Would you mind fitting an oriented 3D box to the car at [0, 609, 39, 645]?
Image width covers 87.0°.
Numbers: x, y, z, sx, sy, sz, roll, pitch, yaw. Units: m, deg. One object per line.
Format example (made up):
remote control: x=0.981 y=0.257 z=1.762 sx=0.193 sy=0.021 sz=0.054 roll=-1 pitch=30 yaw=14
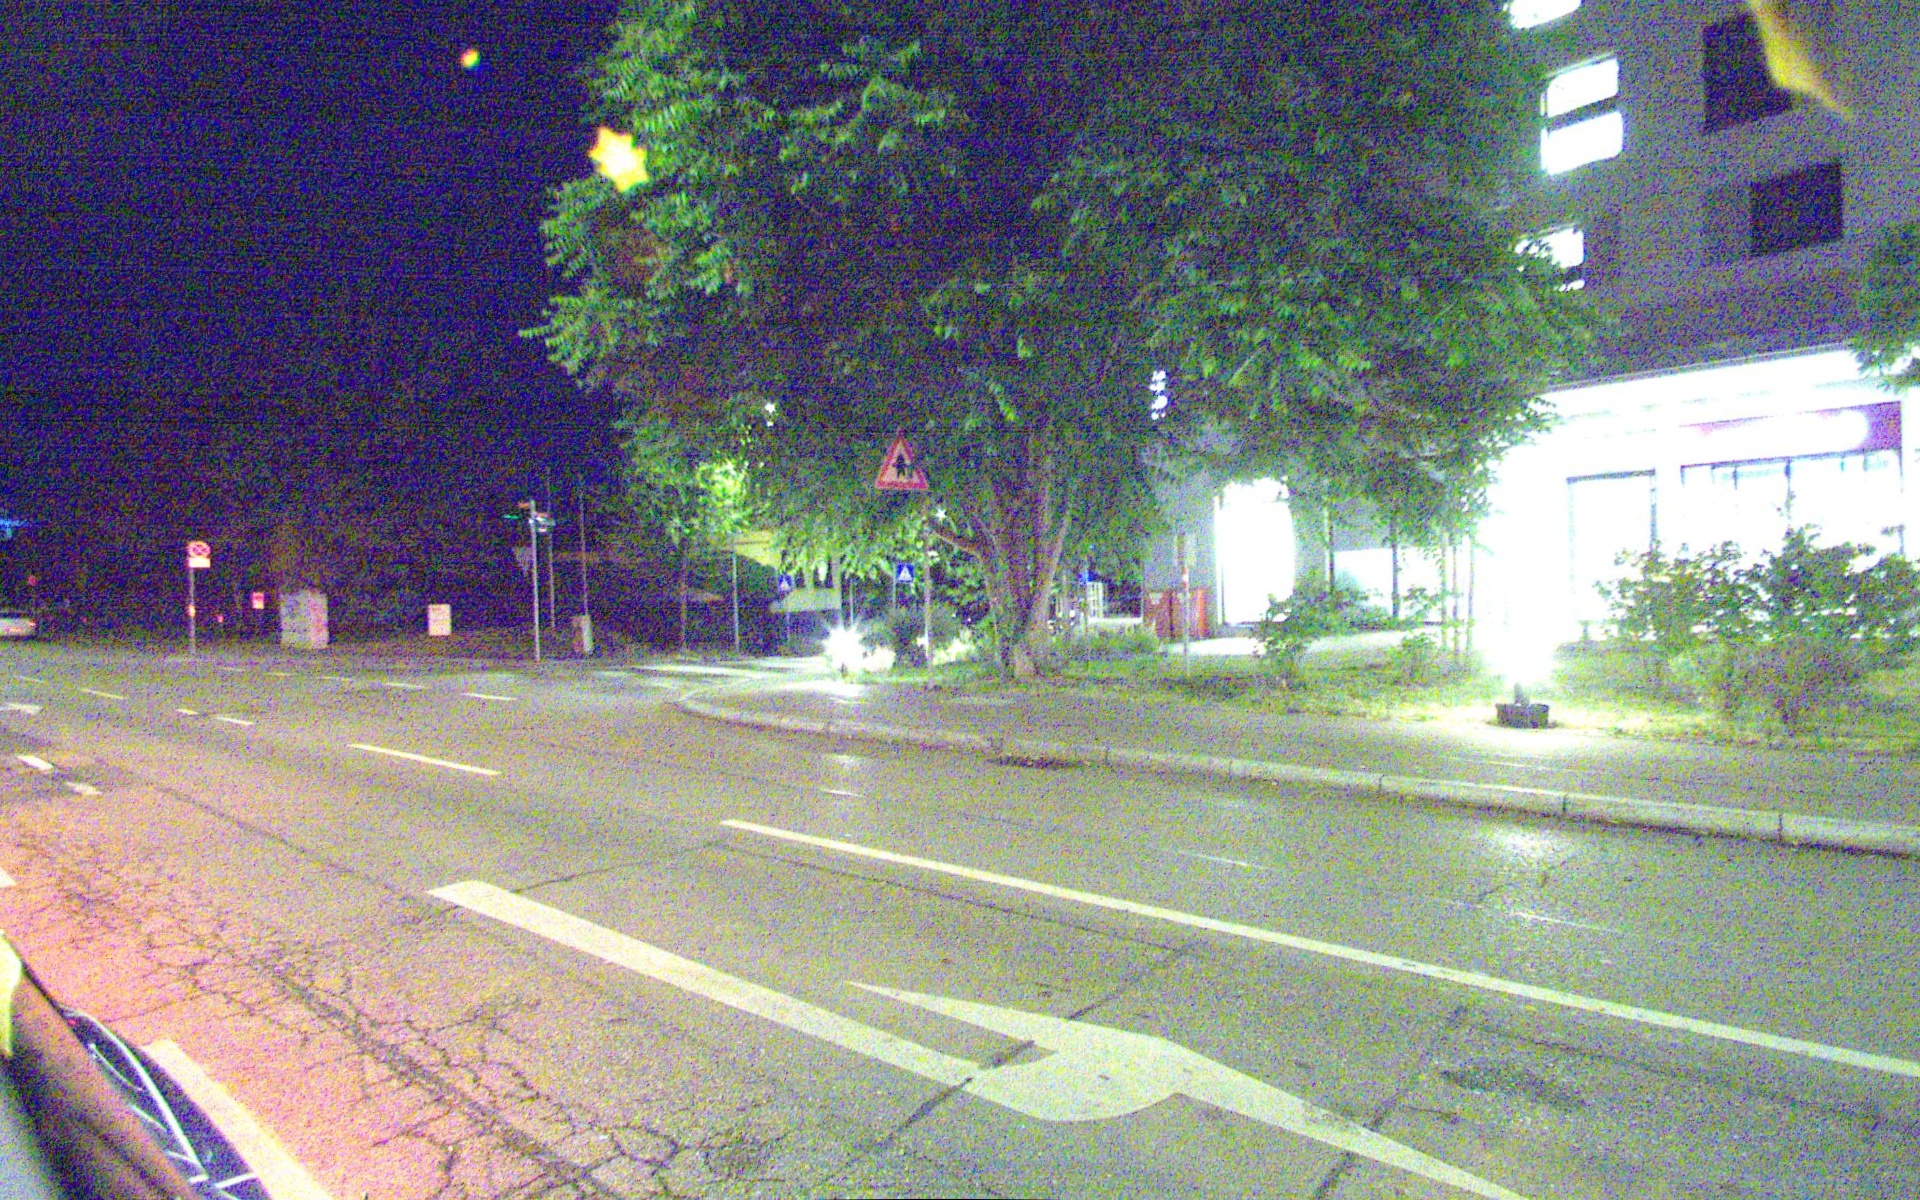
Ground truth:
car: x=-43.271 y=1.208 z=45.812 sx=3.998 sy=1.464 sz=1.887 roll=1 pitch=2 yaw=41
